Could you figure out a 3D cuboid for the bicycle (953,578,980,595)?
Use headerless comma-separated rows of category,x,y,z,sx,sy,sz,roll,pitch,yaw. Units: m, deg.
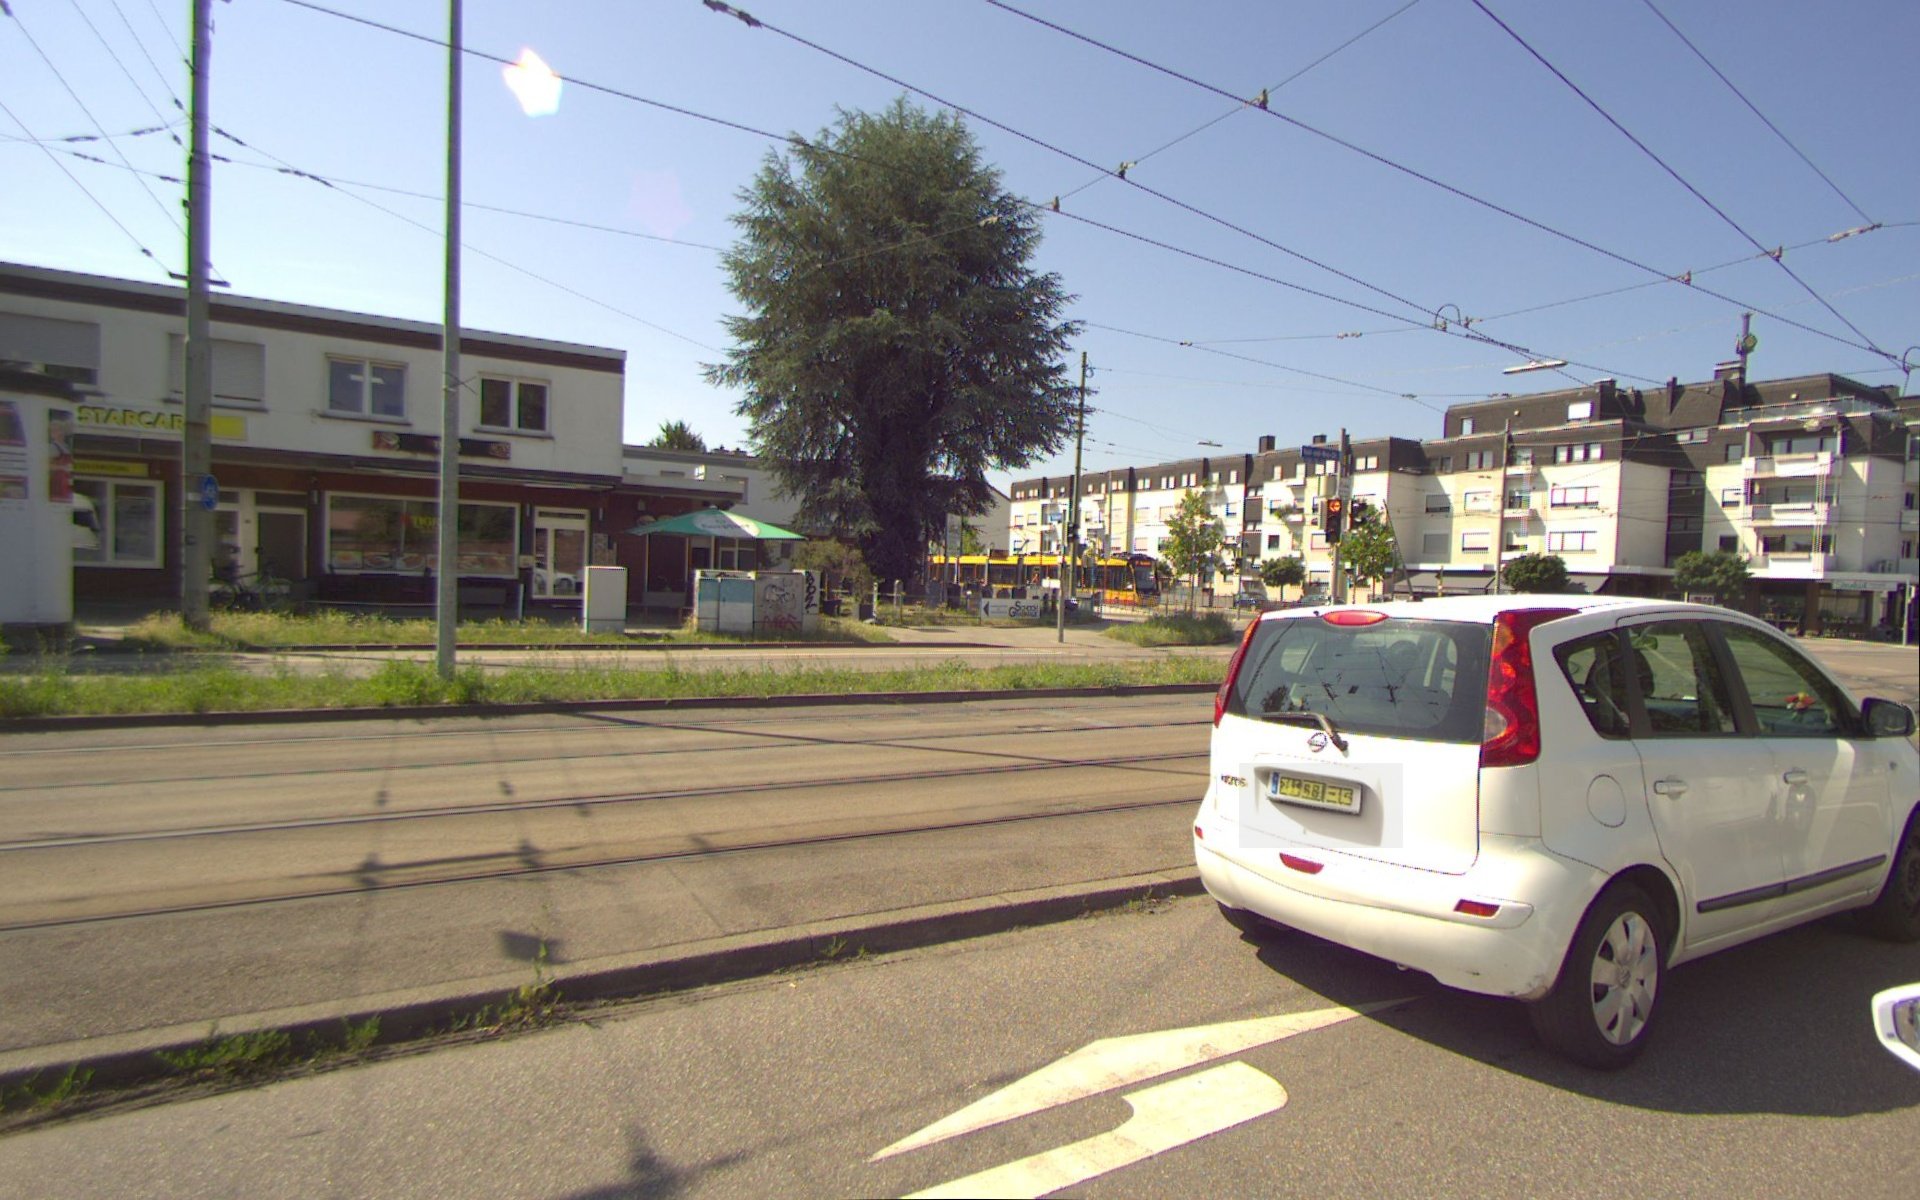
bicycle,0.391,-0.823,61.105,0.530,0.959,2.116,1,1,-34

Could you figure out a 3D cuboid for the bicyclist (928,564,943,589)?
bicyclist,-1.564,-1.510,63.979,0.626,1.596,0.757,1,2,-40

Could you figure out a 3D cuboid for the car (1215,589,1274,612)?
car,20.632,0.020,72.951,1.807,1.520,3.967,1,1,-30

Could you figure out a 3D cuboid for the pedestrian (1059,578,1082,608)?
pedestrian,7.049,-0.453,64.176,0.886,1.862,1.192,1,1,-30

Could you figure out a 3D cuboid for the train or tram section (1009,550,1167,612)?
train or tram section,8.250,-1.390,67.874,2.736,3.707,13.795,1,1,-30

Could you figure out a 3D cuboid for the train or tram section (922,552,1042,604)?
train or tram section,1.429,-1.840,79.858,2.736,3.707,13.795,1,1,-30

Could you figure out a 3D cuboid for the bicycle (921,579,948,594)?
bicycle,-1.646,-0.866,64.065,0.571,0.902,2.113,1,1,-38

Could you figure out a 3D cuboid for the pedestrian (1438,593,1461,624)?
pedestrian,28.210,0.484,57.907,0.799,1.783,0.760,2,1,-17

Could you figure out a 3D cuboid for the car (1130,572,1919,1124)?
car,2.926,0.744,4.660,4.019,1.582,1.757,1,0,-30

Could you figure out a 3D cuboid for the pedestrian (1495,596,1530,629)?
pedestrian,31.694,0.704,57.670,1.410,1.861,1.123,2,1,12

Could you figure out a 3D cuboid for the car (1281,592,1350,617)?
car,23.904,0.286,67.629,1.807,1.520,4.151,1,1,-30

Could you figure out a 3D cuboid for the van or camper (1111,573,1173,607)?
van or camper,14.956,-0.870,82.859,2.349,2.660,4.850,1,1,-31

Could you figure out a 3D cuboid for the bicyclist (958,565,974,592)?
bicyclist,0.365,-1.307,61.173,0.627,1.579,0.756,2,0,-42

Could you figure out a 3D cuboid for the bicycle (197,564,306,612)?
bicycle,-15.672,-0.264,22.272,1.889,0.996,0.754,1,1,-30
